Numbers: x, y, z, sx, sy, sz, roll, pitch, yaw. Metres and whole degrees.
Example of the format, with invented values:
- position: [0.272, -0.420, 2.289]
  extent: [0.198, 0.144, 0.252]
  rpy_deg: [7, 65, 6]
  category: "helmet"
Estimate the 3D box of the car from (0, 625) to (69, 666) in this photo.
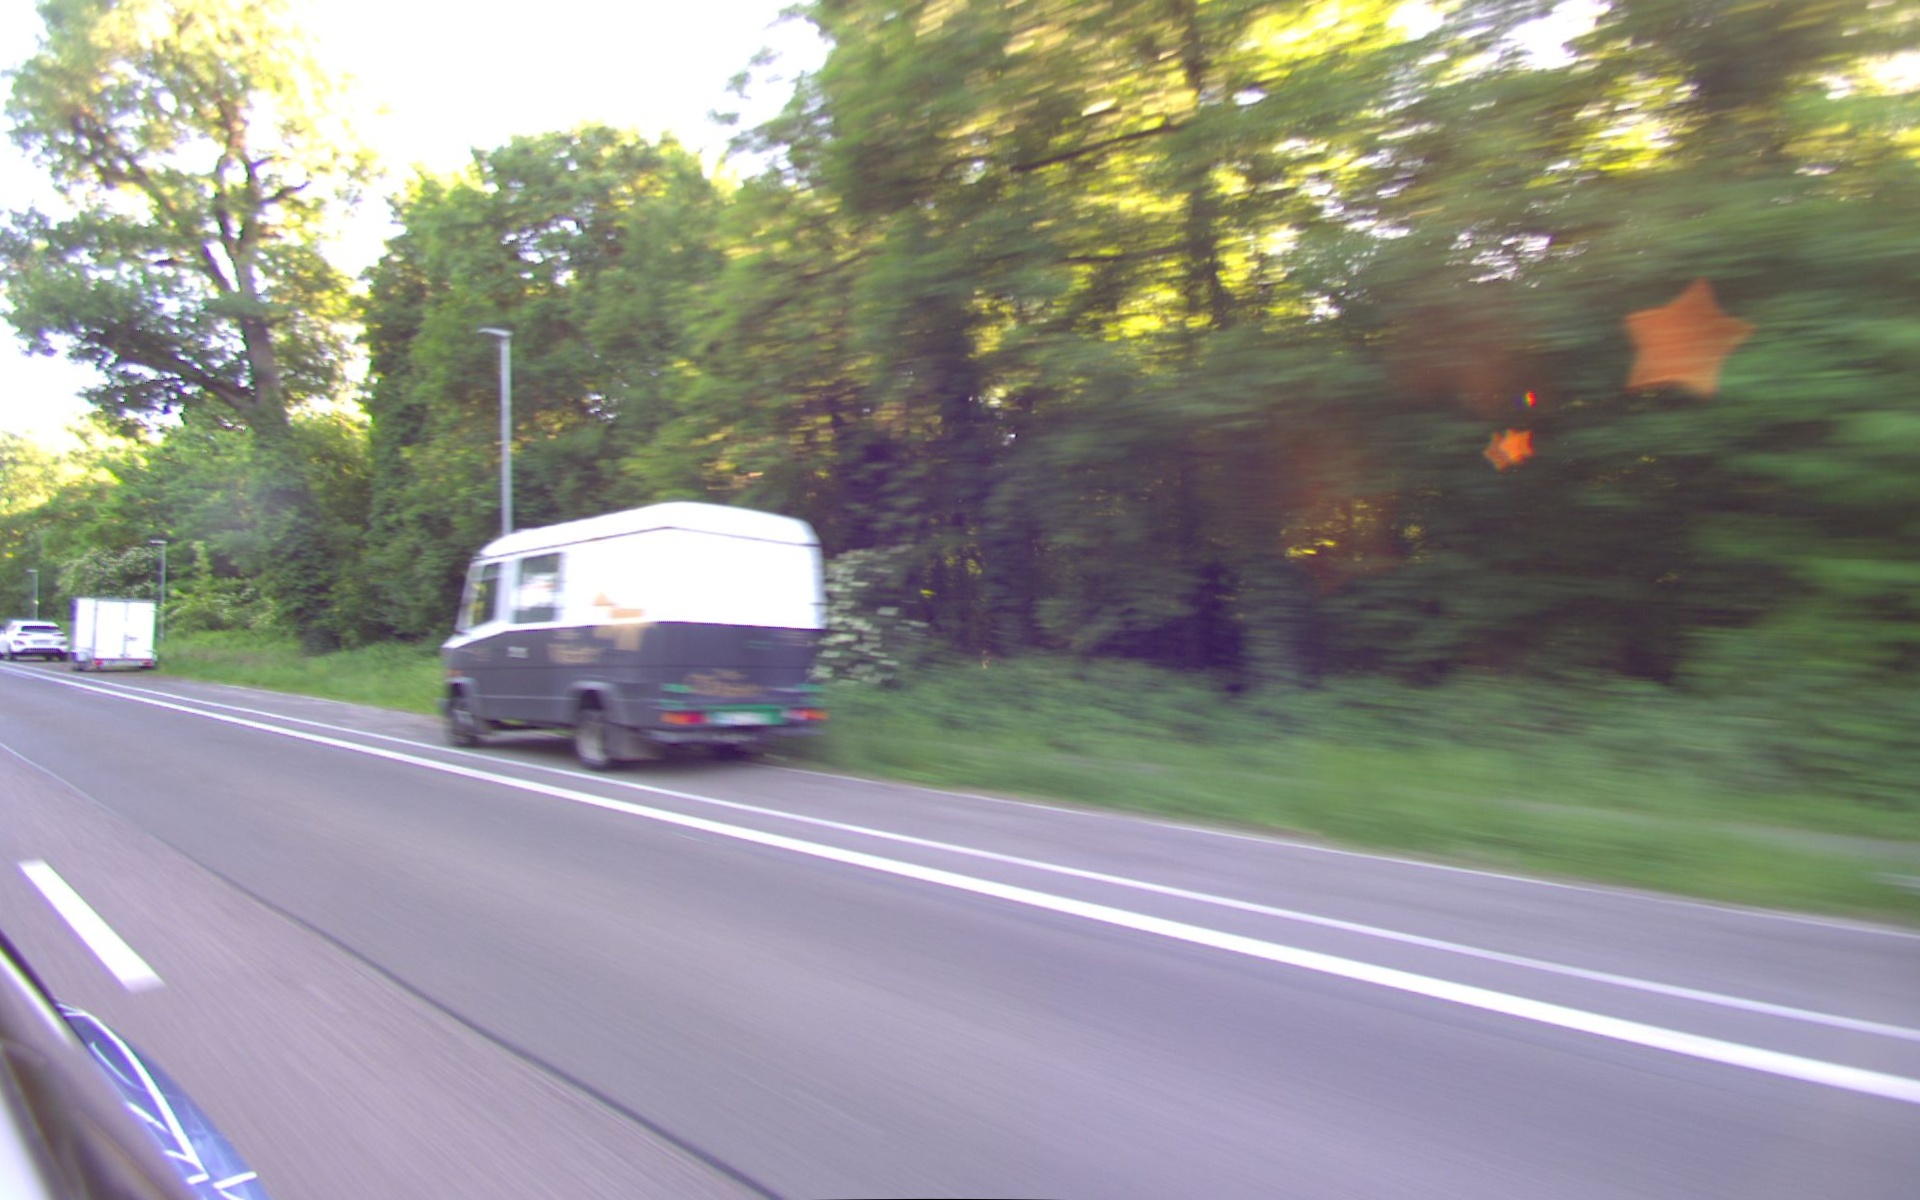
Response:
- position: [-37.555, 1.815, 40.726]
  extent: [4.202, 1.583, 1.796]
  rpy_deg: [-2, -4, 39]
  category: "car"

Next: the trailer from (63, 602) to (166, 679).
- position: [-27.182, 1.275, 32.506]
  extent: [3.486, 2.311, 2.052]
  rpy_deg: [-1, -2, 42]
  category: "trailer"

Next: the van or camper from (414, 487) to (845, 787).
- position: [-4.129, 0.444, 12.074]
  extent: [5.553, 2.789, 2.278]
  rpy_deg: [-1, -4, 41]
  category: "van or camper"

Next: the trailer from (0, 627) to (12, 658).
- position: [-48.704, 2.129, 50.550]
  extent: [1.376, 1.586, 2.682]
  rpy_deg: [0, -1, -29]
  category: "trailer"
